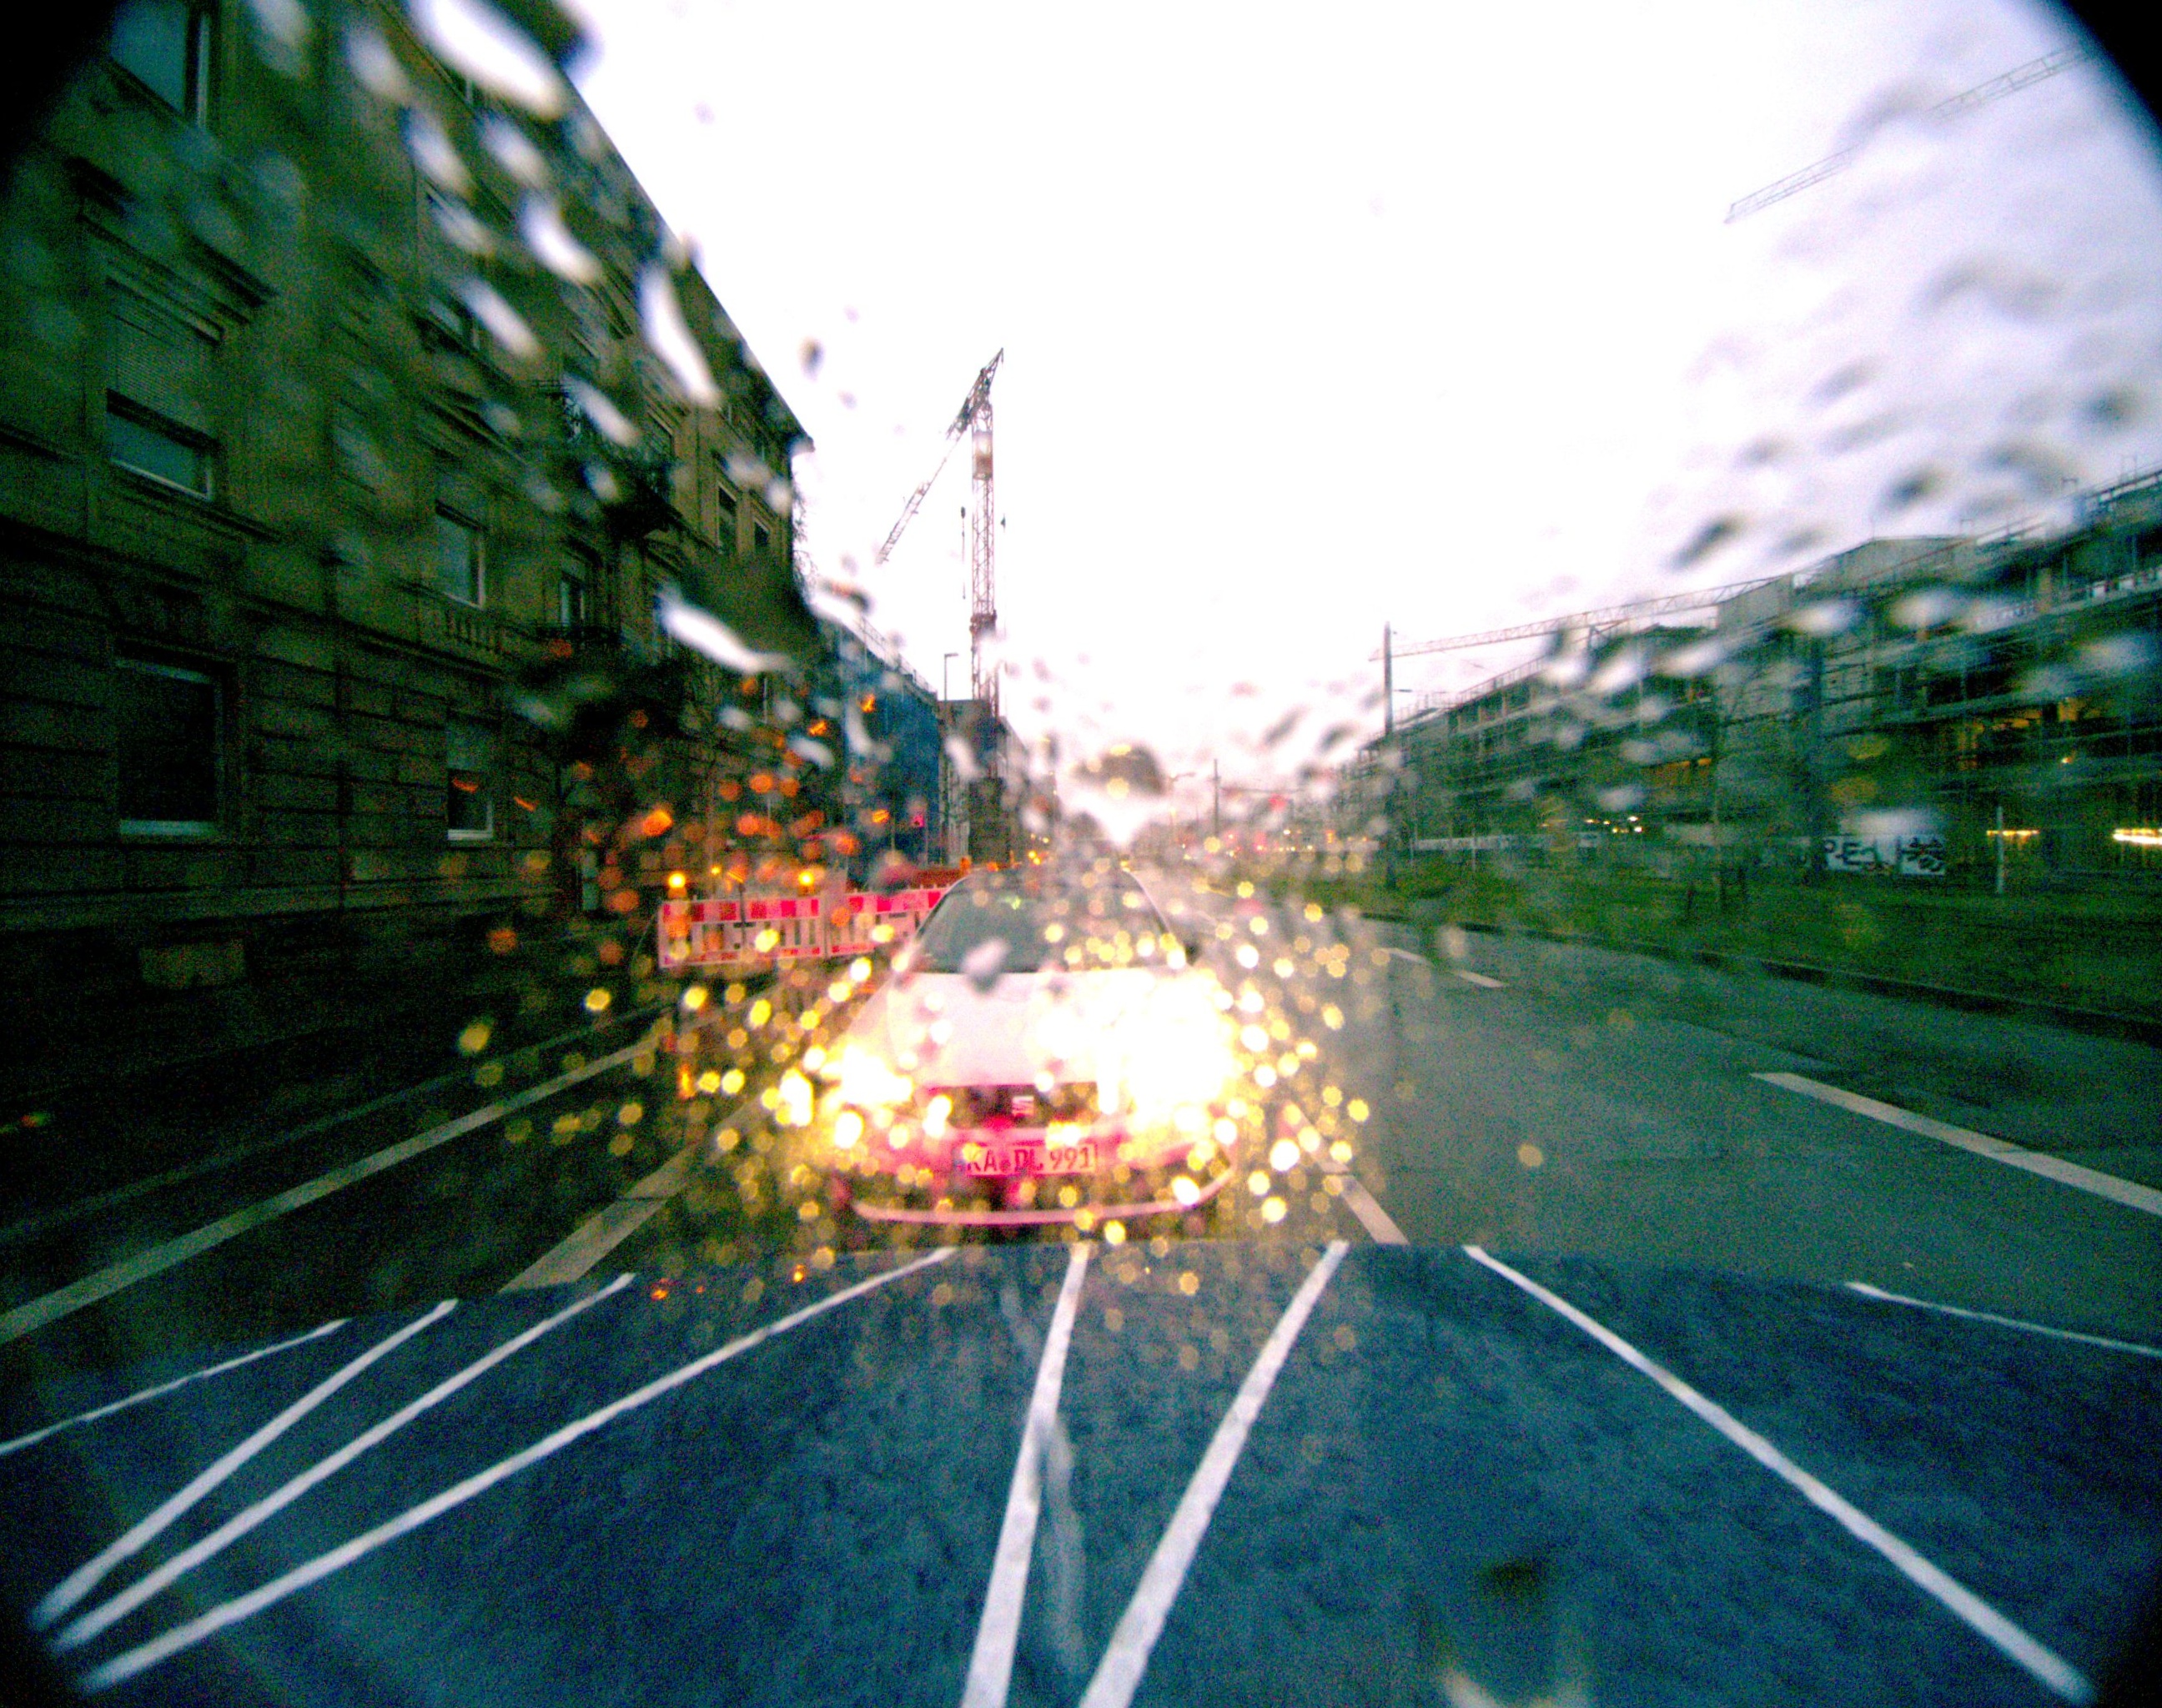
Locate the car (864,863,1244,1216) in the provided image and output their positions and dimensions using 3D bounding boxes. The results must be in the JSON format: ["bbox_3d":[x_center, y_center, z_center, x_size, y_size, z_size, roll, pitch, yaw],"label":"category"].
[{"bbox_3d":[-0.131,0.923,5.620,1.769,1.504,3.899,-3,1,0],"label":"car"}]

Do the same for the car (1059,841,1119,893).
[{"bbox_3d":[0.235,0.371,25.319,1.769,1.504,3.899,-3,1,0],"label":"car"}]

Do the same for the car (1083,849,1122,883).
[{"bbox_3d":[1.011,0.554,37.895,1.769,1.504,3.899,-3,1,0],"label":"car"}]

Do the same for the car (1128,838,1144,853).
[{"bbox_3d":[6.293,-1.011,87.343,1.768,1.614,3.900,-3,1,4],"label":"car"}]

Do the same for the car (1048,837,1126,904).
[{"bbox_3d":[0.136,0.356,19.843,1.769,1.504,3.899,-3,1,0],"label":"car"}]

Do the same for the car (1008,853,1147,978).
[{"bbox_3d":[-0.057,0.813,12.012,1.769,1.504,3.899,-3,1,0],"label":"car"}]

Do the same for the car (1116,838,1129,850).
[{"bbox_3d":[5.893,-1.401,107.035,1.768,1.614,3.900,-3,1,4],"label":"car"}]

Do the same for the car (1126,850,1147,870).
[{"bbox_3d":[5.089,0.516,69.552,1.768,1.614,3.900,-3,1,4],"label":"car"}]

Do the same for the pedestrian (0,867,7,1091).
[{"bbox_3d":[-7.866,0.862,4.778,0.870,1.536,0.929,0,1,1],"label":"pedestrian"}]
